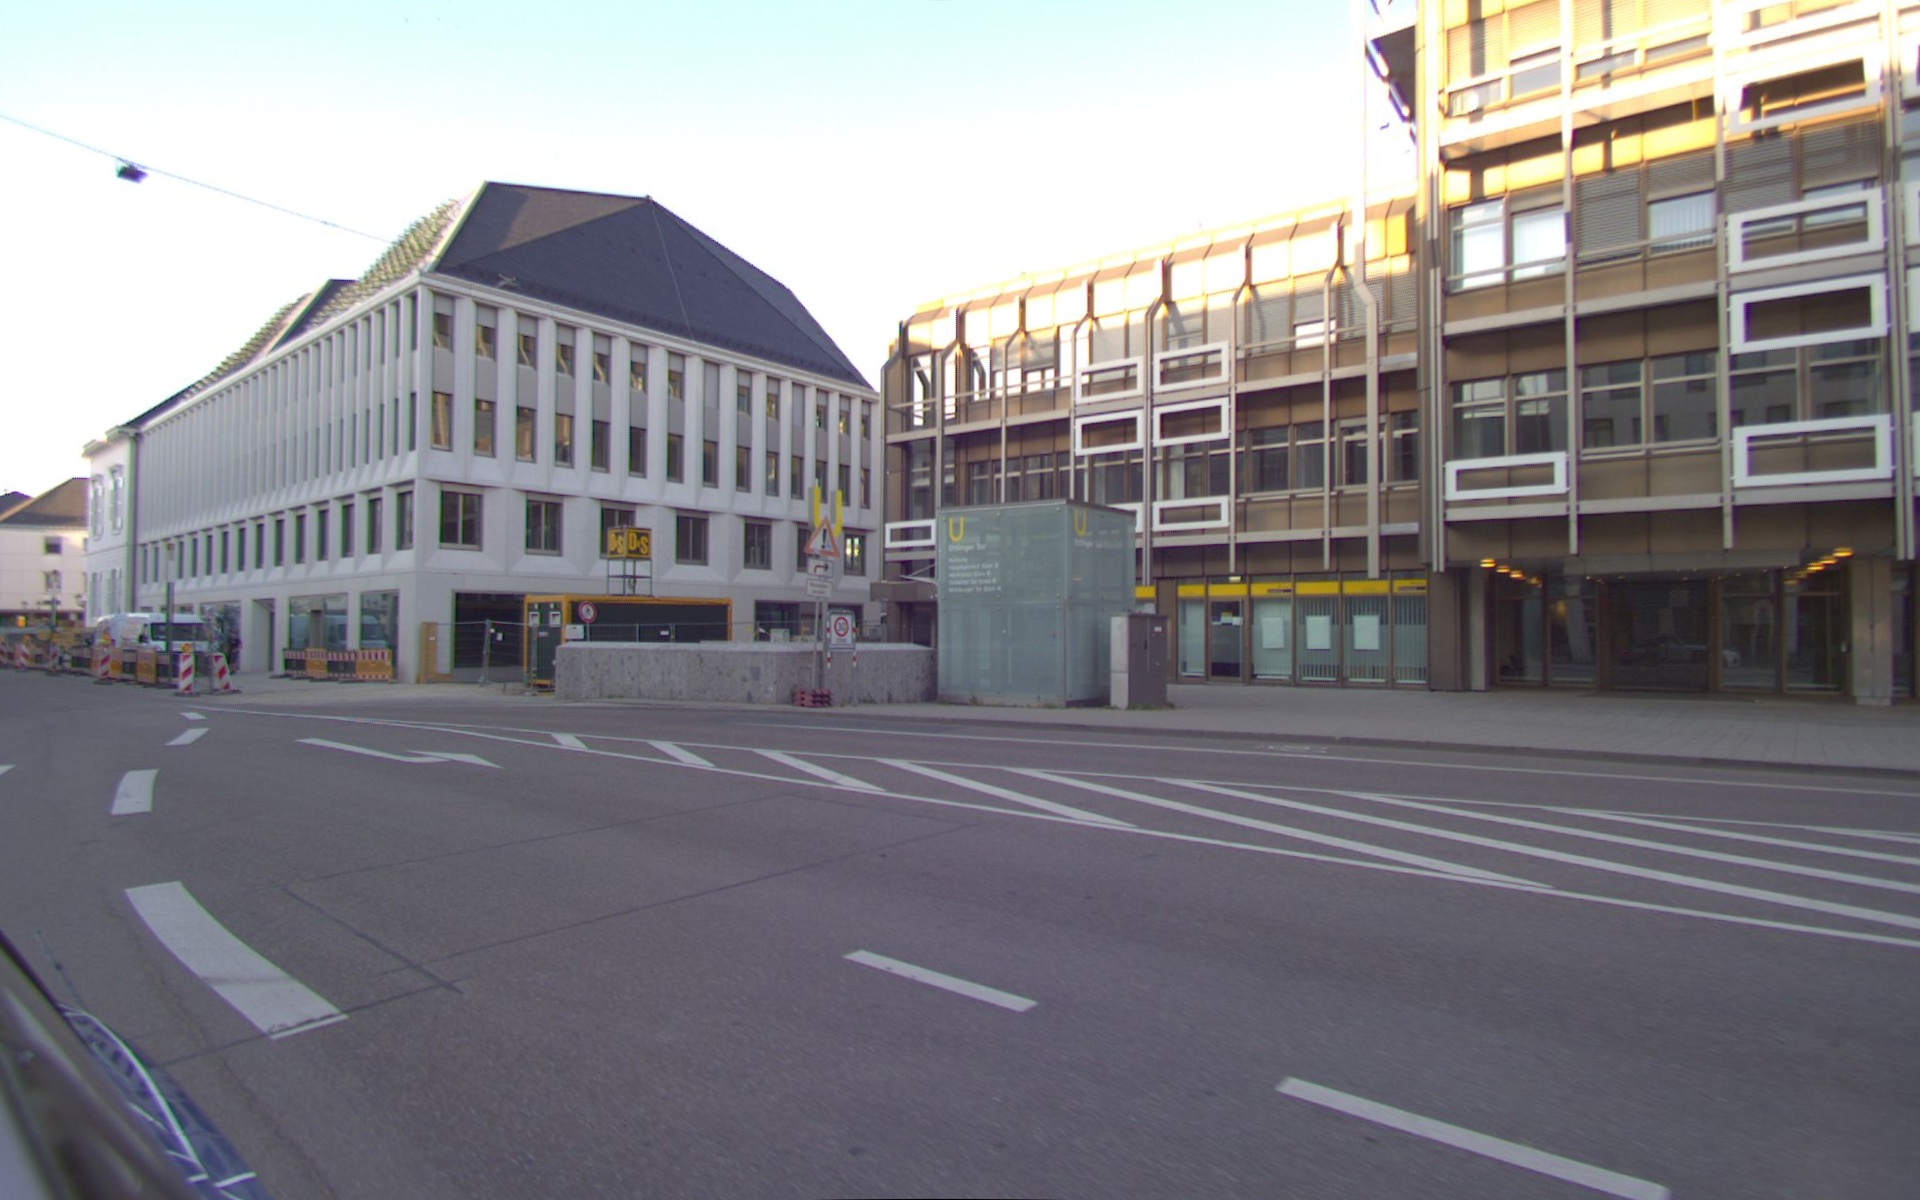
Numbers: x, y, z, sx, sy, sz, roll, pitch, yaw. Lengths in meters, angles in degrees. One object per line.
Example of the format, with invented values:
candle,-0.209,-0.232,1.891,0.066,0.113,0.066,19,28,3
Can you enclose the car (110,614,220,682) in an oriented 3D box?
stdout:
car,-31.399,1.849,39.904,5.993,2.489,2.151,-2,-3,40

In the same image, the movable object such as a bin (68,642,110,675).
movable object such as a bin,-40.482,2.706,47.024,1.387,1.477,1.037,-1,-2,28

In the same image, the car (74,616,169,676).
car,-37.092,2.011,44.703,5.994,2.489,2.151,-2,-3,40
